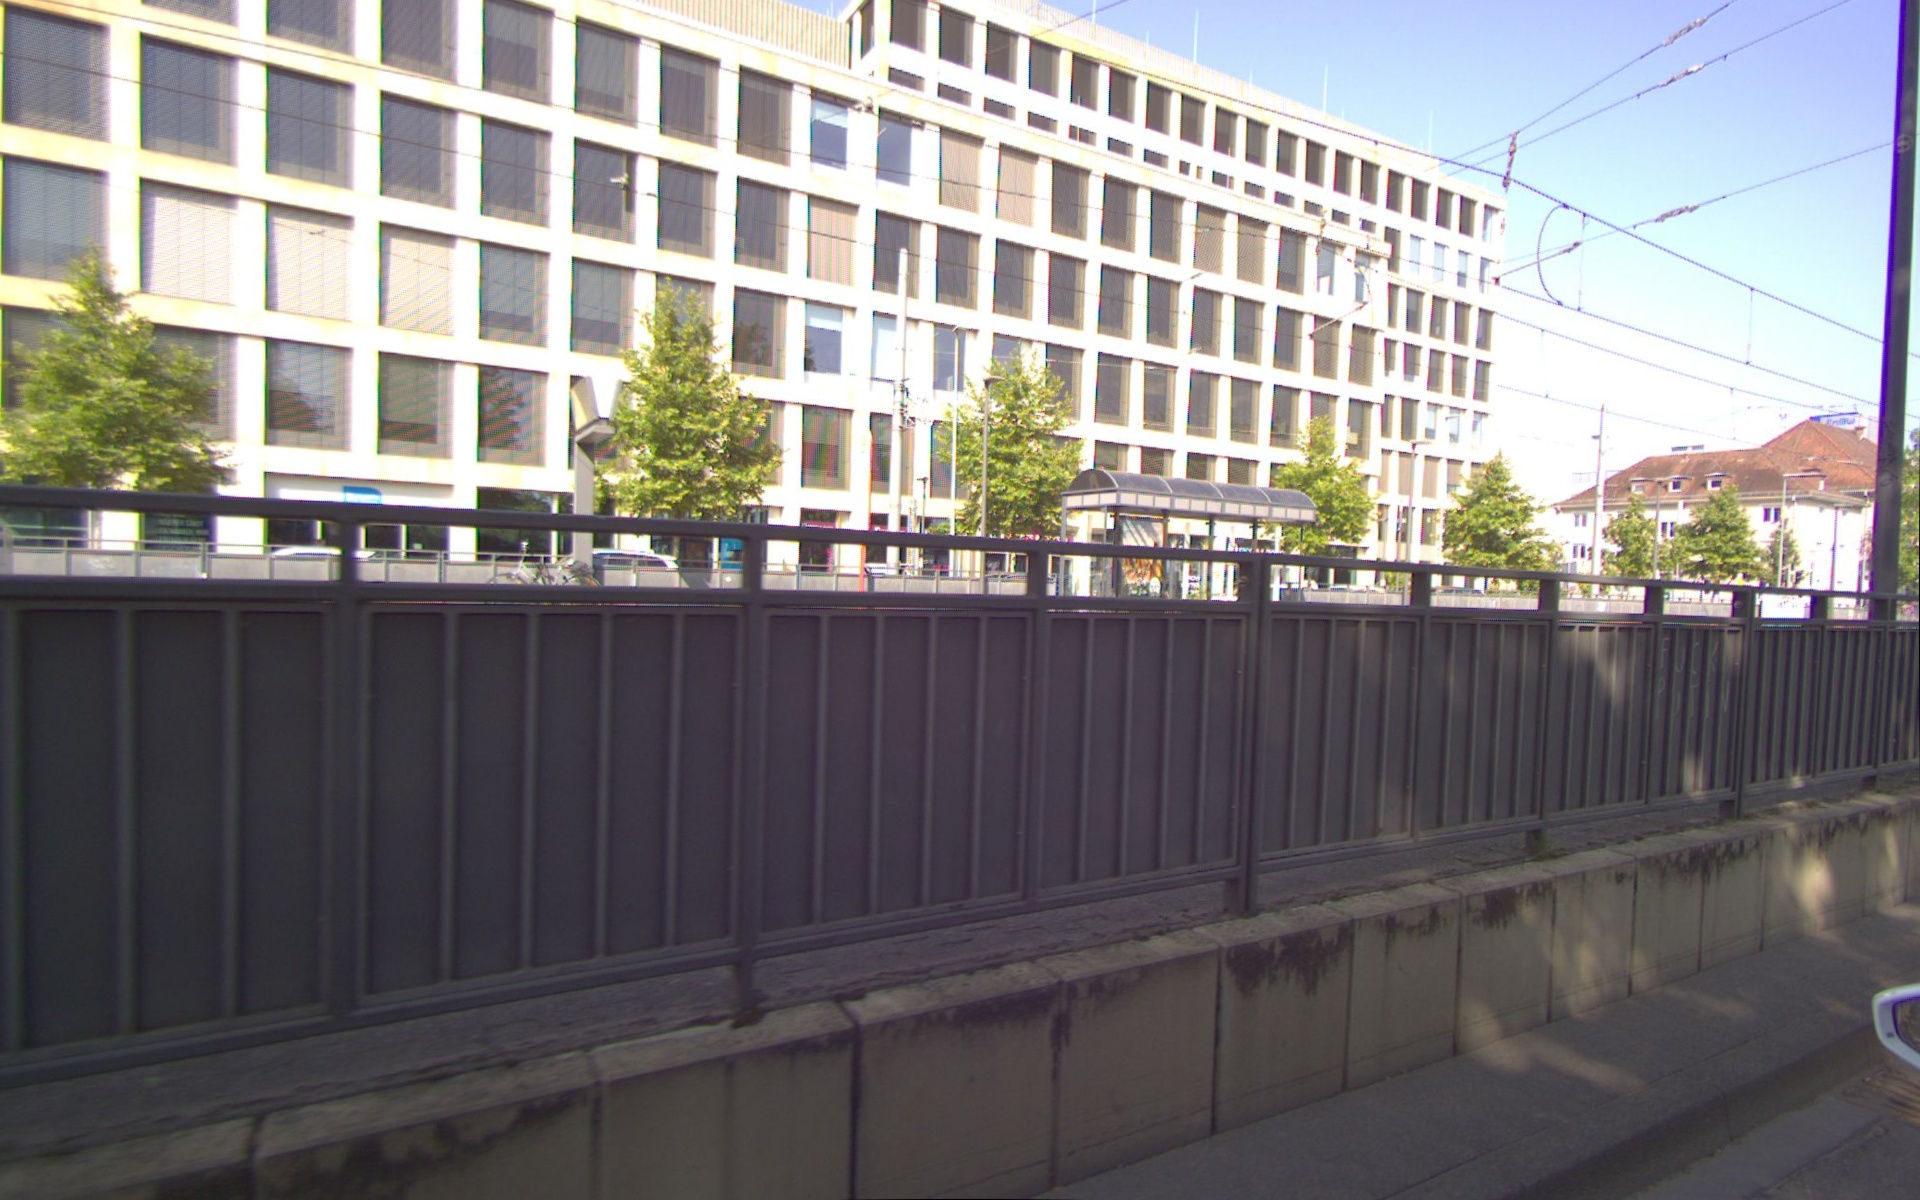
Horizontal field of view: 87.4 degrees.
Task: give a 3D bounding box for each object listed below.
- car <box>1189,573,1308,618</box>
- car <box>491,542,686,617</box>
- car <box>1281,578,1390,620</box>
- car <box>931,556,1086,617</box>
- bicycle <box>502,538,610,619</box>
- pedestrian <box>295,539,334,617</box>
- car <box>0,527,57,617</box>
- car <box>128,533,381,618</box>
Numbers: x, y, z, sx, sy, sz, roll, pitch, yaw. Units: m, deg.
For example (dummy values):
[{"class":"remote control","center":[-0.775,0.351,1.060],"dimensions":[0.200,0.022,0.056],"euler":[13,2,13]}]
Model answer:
[{"class":"car","center":[9.887,-0.131,34.344],"dimensions":[3.963,1.465,1.701],"euler":[1,1,-32]},{"class":"car","center":[-8.749,-0.441,23.736],"dimensions":[4.086,1.624,1.754],"euler":[1,1,-32]},{"class":"car","center":[13.825,-0.030,36.920],"dimensions":[3.963,1.465,1.701],"euler":[1,1,-32]},{"class":"car","center":[1.432,-0.361,29.161],"dimensions":[4.261,1.624,1.755],"euler":[1,1,-31]},{"class":"bicycle","center":[-6.139,-0.321,15.312],"dimensions":[1.459,1.163,0.471],"euler":[1,2,-16]},{"class":"pedestrian","center":[-17.435,-0.580,27.150],"dimensions":[0.813,2.040,0.560],"euler":[2,-2,-30]},{"class":"car","center":[-18.909,-0.525,17.761],"dimensions":[4.086,1.595,1.754],"euler":[1,1,-32]},{"class":"car","center":[-14.275,-0.452,20.627],"dimensions":[4.086,1.595,1.754],"euler":[1,1,-32]}]
